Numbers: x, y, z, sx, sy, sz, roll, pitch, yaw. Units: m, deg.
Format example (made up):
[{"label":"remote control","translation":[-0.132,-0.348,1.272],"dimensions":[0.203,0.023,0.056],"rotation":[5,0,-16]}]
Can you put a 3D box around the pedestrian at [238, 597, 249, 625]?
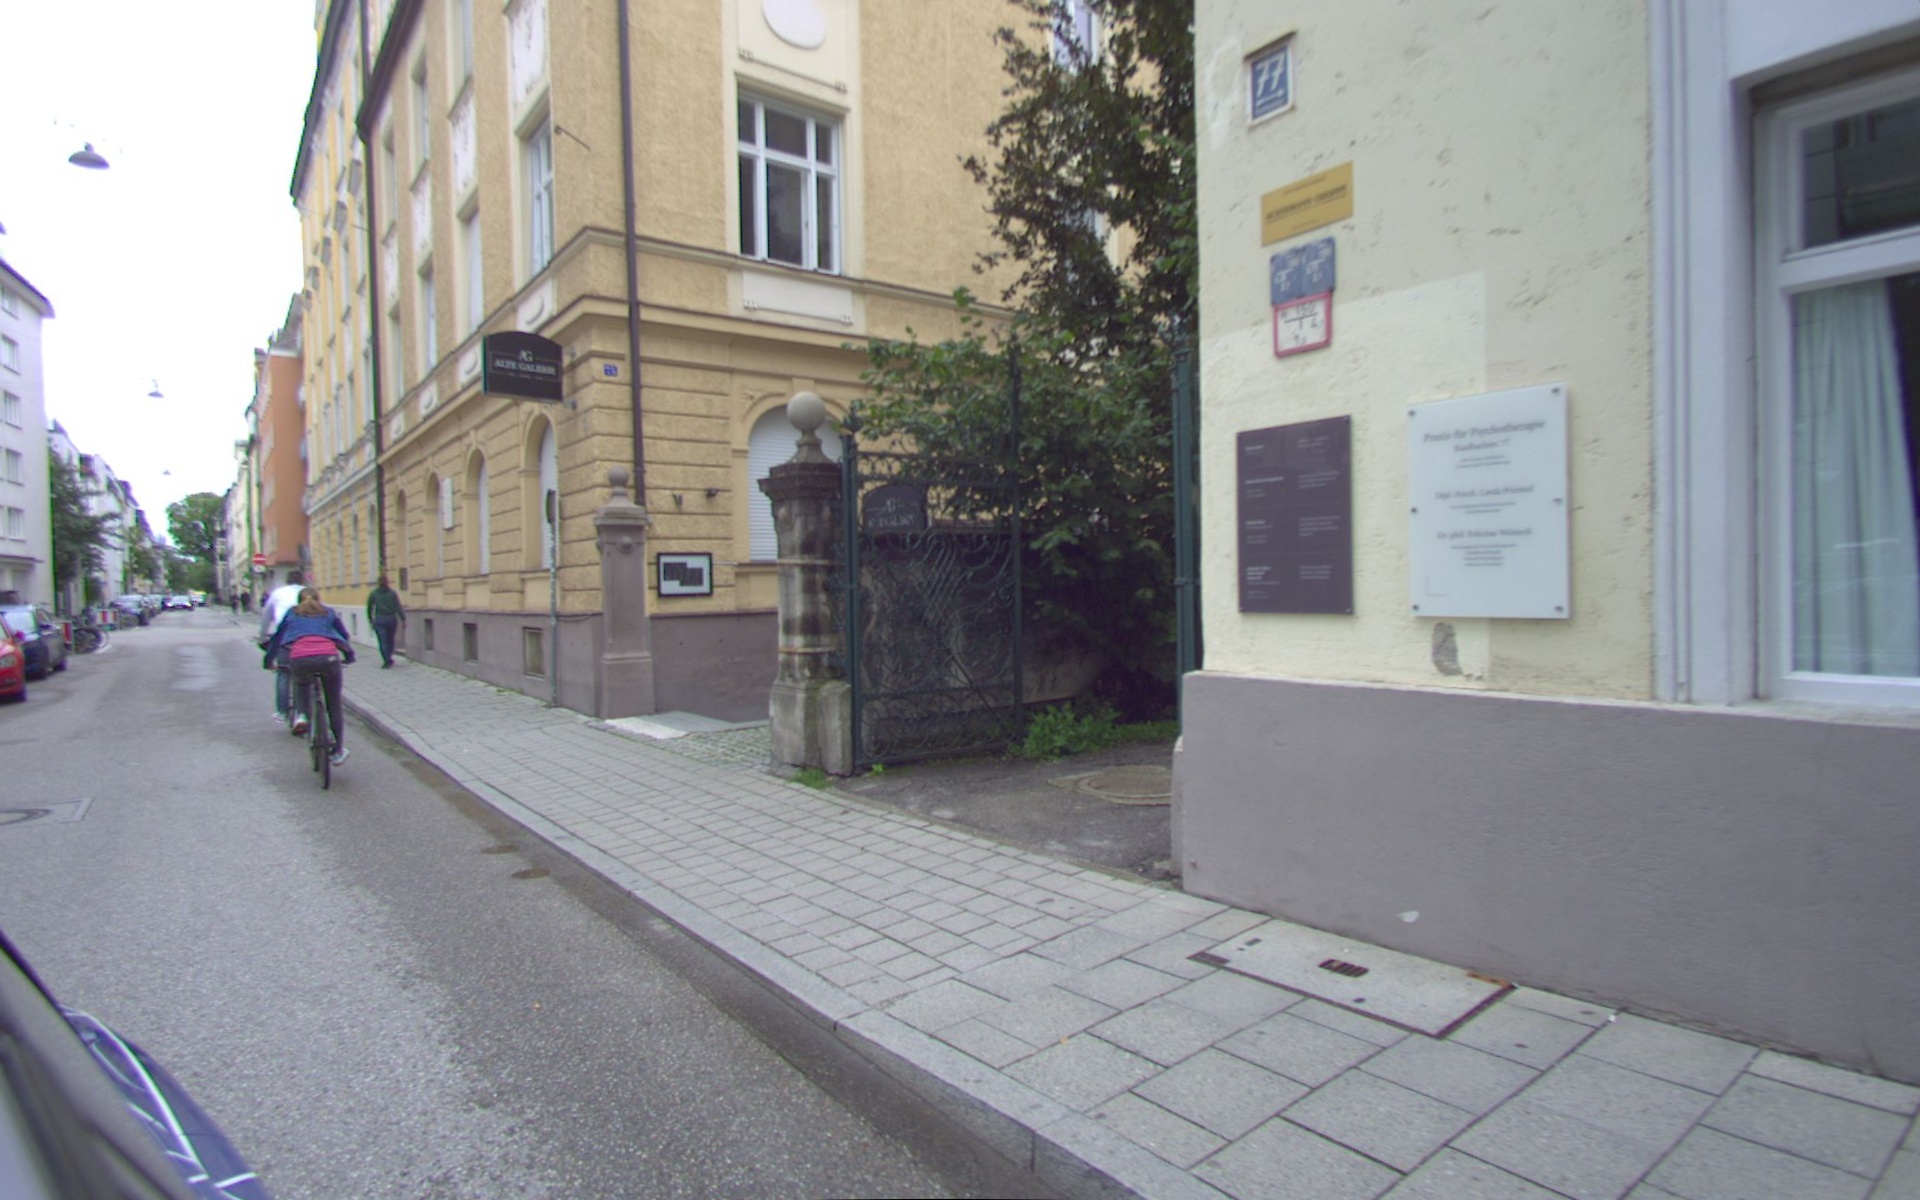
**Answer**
[{"label":"pedestrian","translation":[-50.731,0.779,71.622],"dimensions":[0.625,2.029,0.790],"rotation":[0,-1,-37]}]

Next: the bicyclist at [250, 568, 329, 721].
[{"label":"bicyclist","translation":[-7.621,0.473,11.496],"dimensions":[0.651,1.655,0.897],"rotation":[-1,0,-38]}]

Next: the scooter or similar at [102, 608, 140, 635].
[{"label":"scooter or similar","translation":[-38.991,1.000,47.038],"dimensions":[1.319,1.223,0.345],"rotation":[-1,1,-35]}]

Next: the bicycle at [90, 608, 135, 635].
[{"label":"bicycle","translation":[-40.503,1.001,48.402],"dimensions":[1.582,1.223,0.530],"rotation":[-1,1,-35]}]

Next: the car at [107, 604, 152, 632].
[{"label":"car","translation":[-43.693,0.913,53.315],"dimensions":[1.628,1.409,4.009],"rotation":[-1,1,-37]}]

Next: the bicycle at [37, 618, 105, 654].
[{"label":"bicycle","translation":[-25.940,1.046,29.541],"dimensions":[1.418,1.051,0.361],"rotation":[1,0,-29]}]

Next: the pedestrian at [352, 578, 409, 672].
[{"label":"pedestrian","translation":[-10.897,0.455,19.028],"dimensions":[0.703,1.678,0.932],"rotation":[-5,3,-38]}]

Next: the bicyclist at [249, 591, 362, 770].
[{"label":"bicyclist","translation":[-5.438,0.623,8.404],"dimensions":[0.698,1.381,0.815],"rotation":[-1,0,-38]}]

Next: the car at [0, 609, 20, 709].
[{"label":"car","translation":[-16.059,0.919,15.953],"dimensions":[1.740,1.457,4.303],"rotation":[-4,2,-43]}]

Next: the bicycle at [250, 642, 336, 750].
[{"label":"bicycle","translation":[-7.617,1.040,11.526],"dimensions":[0.653,1.047,2.009],"rotation":[-1,1,-38]}]

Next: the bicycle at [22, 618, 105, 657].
[{"label":"bicycle","translation":[-24.916,1.045,28.158],"dimensions":[1.680,1.051,0.361],"rotation":[1,-1,-37]}]

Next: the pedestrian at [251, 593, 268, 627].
[{"label":"pedestrian","translation":[-35.644,0.517,51.497],"dimensions":[0.566,1.706,0.604],"rotation":[0,1,44]}]

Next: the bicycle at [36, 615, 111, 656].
[{"label":"bicycle","translation":[-26.990,1.062,30.845],"dimensions":[1.673,1.169,0.379],"rotation":[-2,1,-38]}]

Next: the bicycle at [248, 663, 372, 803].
[{"label":"bicycle","translation":[-5.432,1.040,8.411],"dimensions":[0.698,0.912,1.813],"rotation":[-1,1,-38]}]

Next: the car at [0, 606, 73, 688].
[{"label":"car","translation":[-19.206,0.911,20.211],"dimensions":[1.771,1.449,4.394],"rotation":[-4,2,-36]}]

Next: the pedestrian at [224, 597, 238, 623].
[{"label":"pedestrian","translation":[-51.140,0.685,70.978],"dimensions":[0.714,1.806,0.831],"rotation":[-1,1,-37]}]

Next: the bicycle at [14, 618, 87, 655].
[{"label":"bicycle","translation":[-26.056,1.044,29.026],"dimensions":[1.496,1.051,0.361],"rotation":[1,0,-29]}]

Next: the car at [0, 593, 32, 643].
[{"label":"car","translation":[-39.355,0.753,39.230],"dimensions":[4.602,1.905,1.940],"rotation":[-1,0,-29]}]

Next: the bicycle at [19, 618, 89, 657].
[{"label":"bicycle","translation":[-25.392,1.046,28.382],"dimensions":[1.416,1.051,0.331],"rotation":[1,0,-29]}]

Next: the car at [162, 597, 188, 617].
[{"label":"car","translation":[-73.969,0.629,95.369],"dimensions":[1.900,1.818,4.453],"rotation":[-2,1,-38]}]

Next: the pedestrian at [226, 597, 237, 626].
[{"label":"pedestrian","translation":[-51.108,0.790,71.025],"dimensions":[0.625,2.029,0.790],"rotation":[0,-1,-37]}]

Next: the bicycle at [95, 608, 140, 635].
[{"label":"bicycle","translation":[-39.999,1.000,48.059],"dimensions":[1.582,1.223,0.530],"rotation":[-1,1,-35]}]

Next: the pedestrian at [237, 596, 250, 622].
[{"label":"pedestrian","translation":[-50.630,0.614,71.514],"dimensions":[0.688,1.806,0.765],"rotation":[-1,1,-37]}]
